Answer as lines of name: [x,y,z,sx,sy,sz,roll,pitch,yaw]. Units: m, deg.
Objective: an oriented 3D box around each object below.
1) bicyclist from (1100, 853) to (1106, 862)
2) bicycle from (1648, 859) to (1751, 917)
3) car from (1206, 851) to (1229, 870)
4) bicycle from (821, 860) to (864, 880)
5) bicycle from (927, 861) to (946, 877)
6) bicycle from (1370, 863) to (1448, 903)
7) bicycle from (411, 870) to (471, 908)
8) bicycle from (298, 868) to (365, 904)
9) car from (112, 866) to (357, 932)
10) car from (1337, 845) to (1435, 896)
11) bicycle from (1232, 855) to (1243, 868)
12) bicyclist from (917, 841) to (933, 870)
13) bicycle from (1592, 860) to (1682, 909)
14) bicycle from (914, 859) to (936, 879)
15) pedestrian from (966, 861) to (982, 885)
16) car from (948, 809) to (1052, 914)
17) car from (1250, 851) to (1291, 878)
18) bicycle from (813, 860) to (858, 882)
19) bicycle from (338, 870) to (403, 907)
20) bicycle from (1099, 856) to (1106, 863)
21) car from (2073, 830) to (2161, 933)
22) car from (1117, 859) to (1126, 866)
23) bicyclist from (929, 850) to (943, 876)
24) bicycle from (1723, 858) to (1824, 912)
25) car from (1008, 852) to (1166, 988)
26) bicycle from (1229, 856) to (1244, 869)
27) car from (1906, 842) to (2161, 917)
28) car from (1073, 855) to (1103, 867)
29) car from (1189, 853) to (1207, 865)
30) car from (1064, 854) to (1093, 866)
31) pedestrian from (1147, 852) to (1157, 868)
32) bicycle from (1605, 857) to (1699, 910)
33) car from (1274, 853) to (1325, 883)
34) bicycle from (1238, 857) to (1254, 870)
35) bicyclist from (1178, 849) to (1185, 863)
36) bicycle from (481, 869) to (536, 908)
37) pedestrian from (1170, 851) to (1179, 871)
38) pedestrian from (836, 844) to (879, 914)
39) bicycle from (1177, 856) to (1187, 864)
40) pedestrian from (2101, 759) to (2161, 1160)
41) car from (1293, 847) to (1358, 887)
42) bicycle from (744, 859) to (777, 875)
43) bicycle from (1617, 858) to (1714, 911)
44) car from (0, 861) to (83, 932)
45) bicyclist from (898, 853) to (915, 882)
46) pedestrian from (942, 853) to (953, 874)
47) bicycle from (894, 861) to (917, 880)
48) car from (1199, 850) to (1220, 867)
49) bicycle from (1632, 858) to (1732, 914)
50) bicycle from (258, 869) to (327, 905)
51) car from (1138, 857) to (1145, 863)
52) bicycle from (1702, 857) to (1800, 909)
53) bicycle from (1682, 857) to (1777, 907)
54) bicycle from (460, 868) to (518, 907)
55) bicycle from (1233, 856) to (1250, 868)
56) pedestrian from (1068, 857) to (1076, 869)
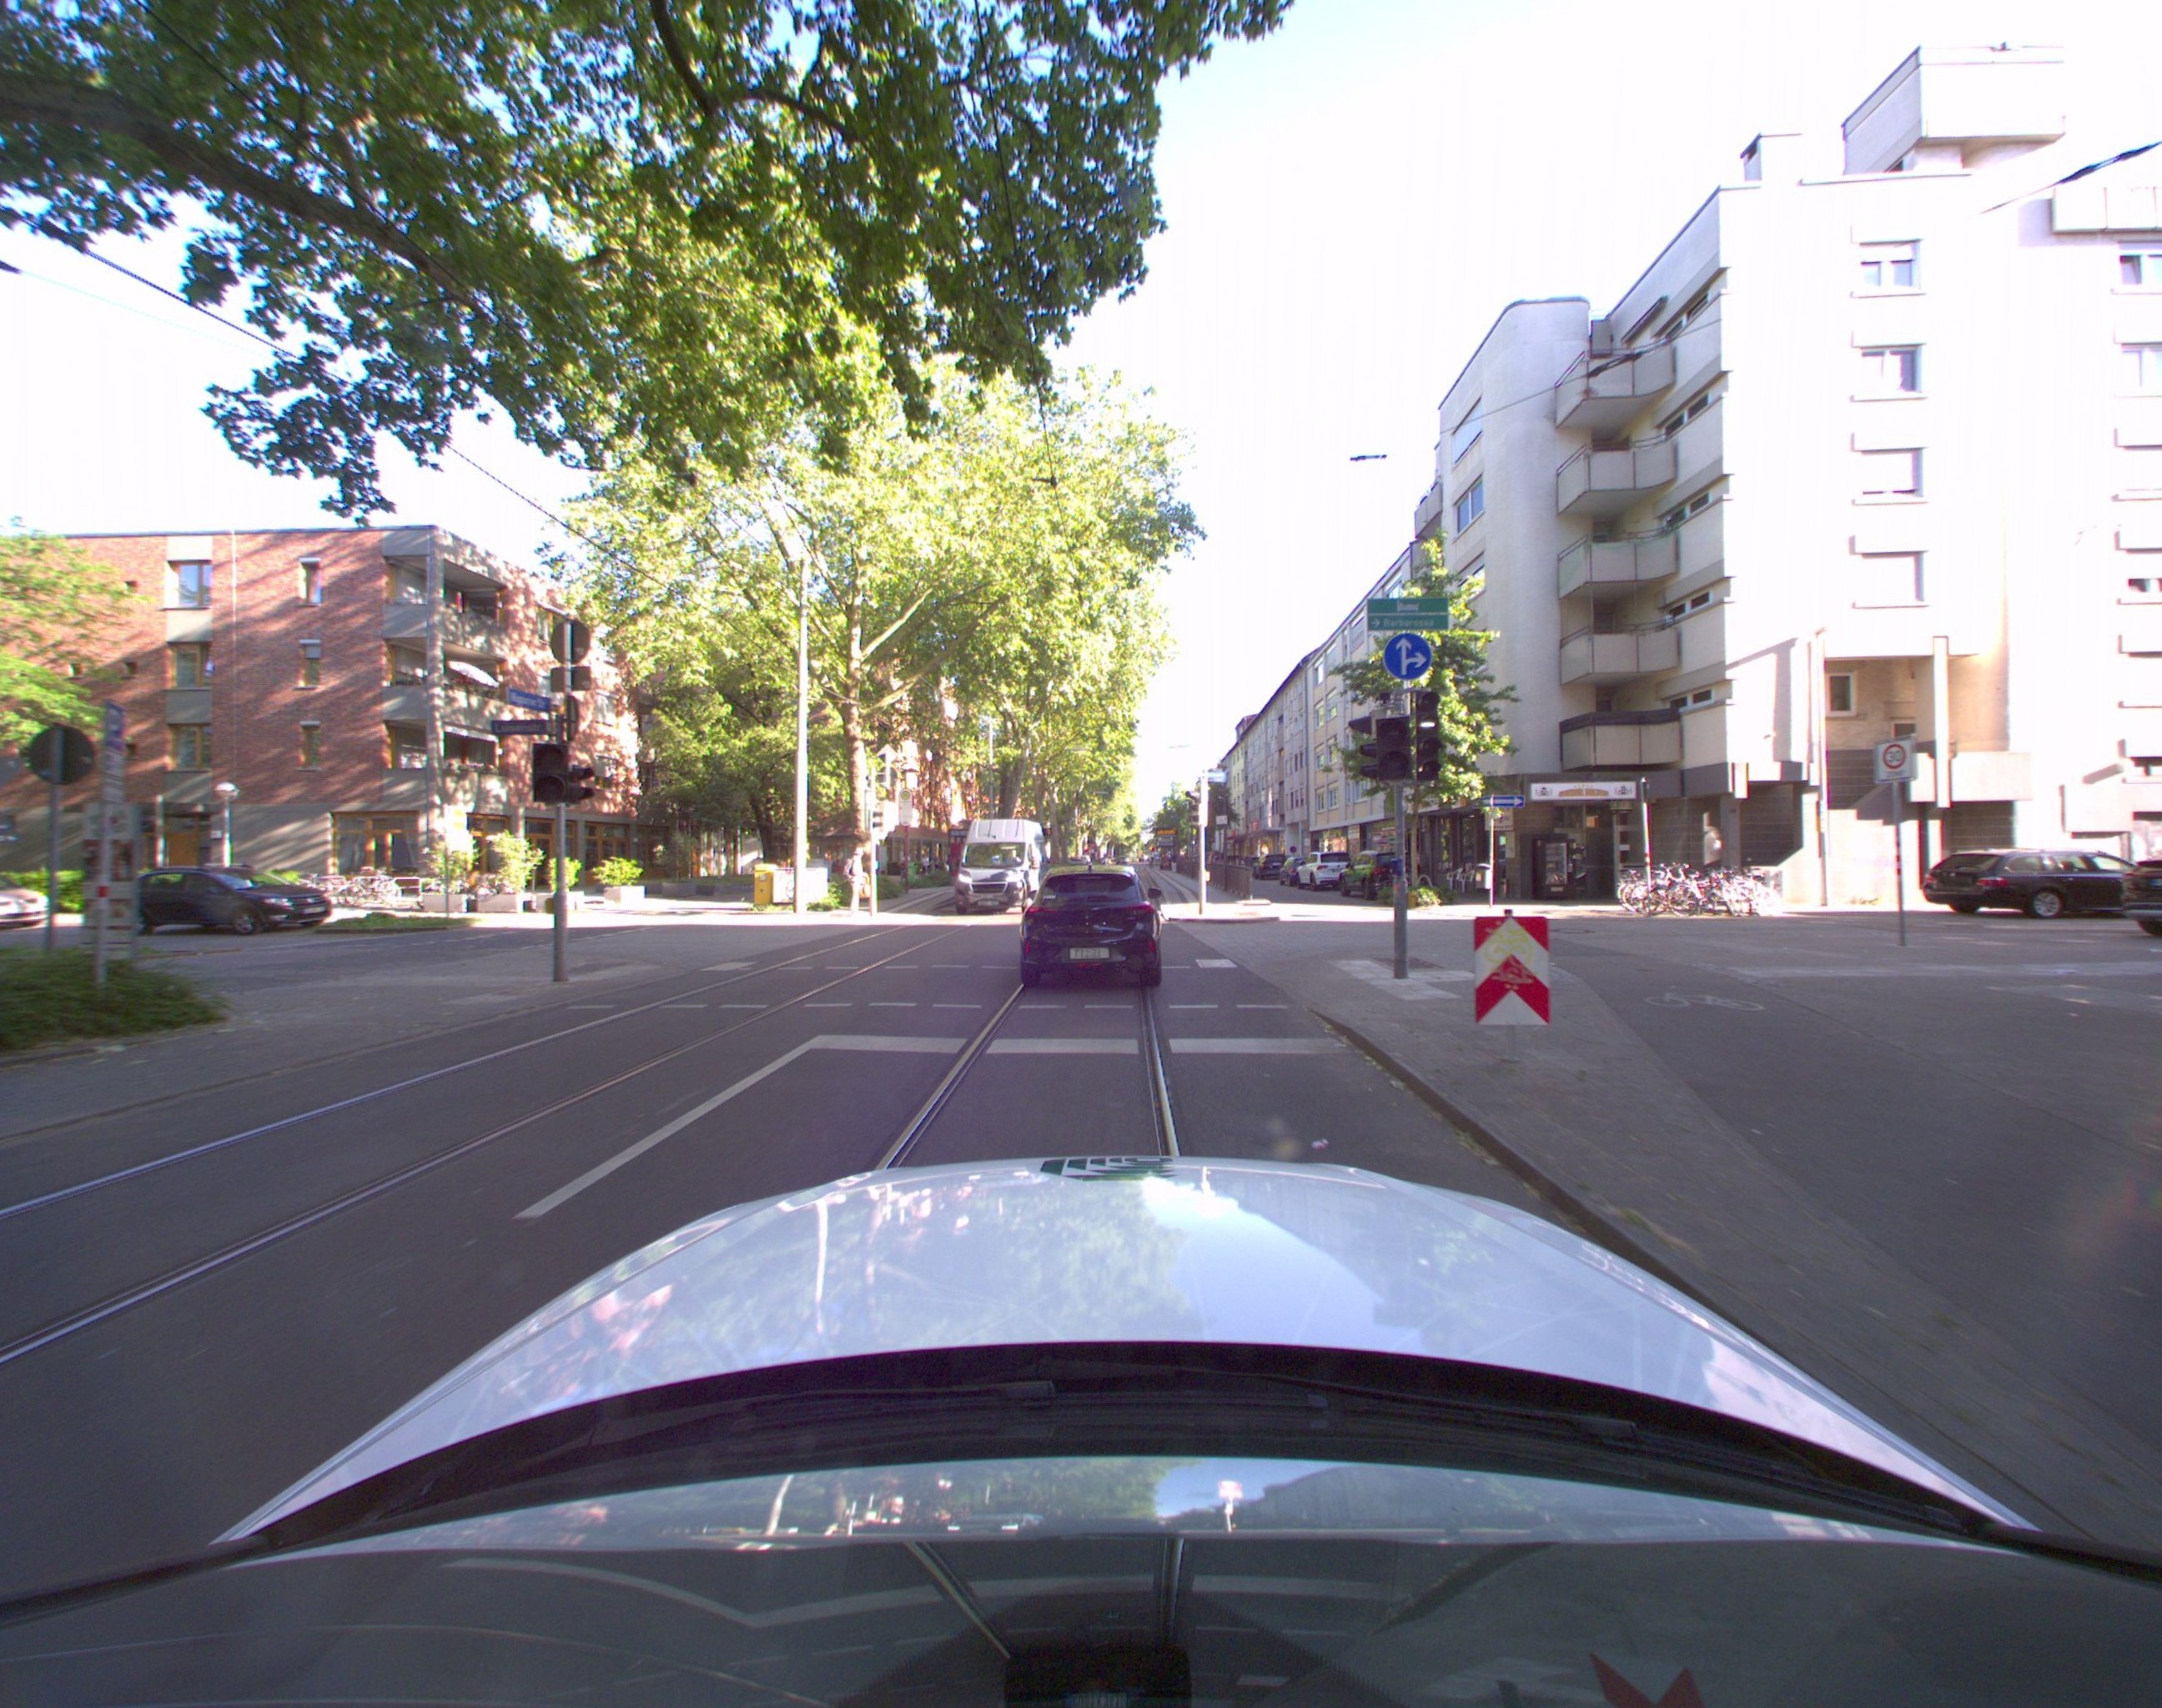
bicyclist: [4.132,0.607,151.358,0.936,1.703,1.155,0,-1,7]
bicycle: [13.695,0.743,18.045,1.908,1.207,0.511,-1,0,-1]
car: [14.345,0.725,85.672,1.985,1.952,4.003,0,-1,3]
bicycle: [-14.368,0.956,49.126,2.330,1.166,0.683,1,-1,4]
bicycle: [-9.910,1.011,55.860,0.779,1.111,2.596,0,-1,1]
bicycle: [10.013,0.880,24.923,2.112,1.187,0.683,0,-1,11]
bicycle: [-20.032,1.076,25.526,0.539,1.084,1.640,0,1,2]
bicycle: [-23.759,0.988,25.854,0.539,1.084,1.639,0,-1,2]
car: [-20.777,1.063,20.128,3.971,1.508,2.001,0,-1,2]
car: [10.432,0.558,28.233,1.985,1.615,4.449,0,-1,4]
bicycle: [14.860,0.716,77.425,0.410,1.136,2.198,0,-1,-7]
bicyclist: [-9.513,0.077,49.601,0.779,1.763,0.951,0,-1,1]
bicycle: [13.788,0.748,20.218,1.908,1.208,0.511,0,-1,-1]
bicycle: [-9.511,0.881,49.650,0.779,1.191,2.596,0,-1,1]
pedestrian: [-5.341,0.969,40.692,0.703,1.168,0.659,-2,-1,0]
car: [-2.276,0.239,24.810,2.104,2.738,6.120,-1,-1,4]
car: [11.913,0.686,51.412,1.849,1.615,4.402,0,-1,4]
bicycle: [-14.518,0.986,48.233,2.447,1.219,0.683,2,-1,4]
bicycle: [-22.341,1.059,25.634,0.539,1.084,1.640,0,0,2]
bicycle: [4.020,1.041,150.449,0.950,1.240,2.983,0,-1,7]
car: [18.811,0.438,12.784,4.238,1.592,1.965,0,-2,-3]
car: [8.195,1.739,164.901,1.738,1.544,4.002,0,-1,2]
bicyclist: [-9.910,0.640,55.700,0.771,1.750,0.998,0,-1,1]
bicycle: [15.826,0.699,18.633,1.908,1.207,0.511,0,1,-1]
car: [0.129,0.765,11.010,1.753,1.508,3.684,-1,-1,2]
bicycle: [13.933,0.788,73.199,0.602,1.136,2.428,0,-1,-7]
car: [21.430,0.526,17.890,4.564,1.477,1.873,-1,2,4]
car: [1.020,1.022,115.966,4.105,1.701,1.881,0,-1,-4]
car: [14.968,0.657,104.652,1.985,1.486,4.004,0,-1,4]
car: [-0.414,0.925,127.868,4.375,1.851,1.997,0,-1,-4]
pedestrian: [7.354,0.628,84.595,0.742,1.709,0.768,0,-1,38]
bicycle: [13.782,0.705,19.667,1.908,1.207,0.511,-1,0,-1]
car: [10.937,0.678,41.030,1.736,1.440,4.251,0,-1,4]
bicycle: [14.277,0.827,70.691,0.621,1.136,2.433,0,-1,-7]
bicyclist: [13.378,0.251,108.360,0.859,1.759,1.052,0,-1,-3]
bicycle: [-17.734,1.054,25.262,0.539,1.084,1.538,0,2,2]
pedestrian: [7.512,0.523,65.571,0.628,1.576,0.871,2,0,4]
pedestrian: [-6.060,0.658,22.131,0.921,1.835,0.920,0,2,0]
bicycle: [13.382,0.796,108.073,0.859,1.136,2.394,0,-1,-2]
pedestrian: [5.240,0.462,3.328,0.876,1.758,1.044,0,-1,-11]
car: [10.538,0.549,35.459,1.791,1.606,4.419,0,-1,4]
bicycle: [-21.458,0.866,54.539,1.942,1.073,0.762,0,-1,-13]
bicycle: [13.701,0.705,19.114,1.908,1.207,0.511,-1,0,-1]
car: [-28.397,1.058,20.561,3.971,1.661,1.962,0,2,2]
bicyclist: [-10.695,0.807,49.820,0.771,1.750,0.998,0,-1,1]
pedestrian: [-10.711,0.731,65.419,0.732,1.672,0.861,0,-1,4]
bicycle: [-10.712,1.000,49.807,0.779,1.111,2.596,0,-1,1]
car: [14.512,0.538,92.222,1.985,1.797,4.003,0,-1,3]
bicycle: [13.689,0.729,18.579,1.908,1.207,0.511,-1,0,-1]
bicycle: [-25.091,1.036,25.950,0.539,1.084,1.639,0,-1,2]
car: [17.706,1.734,238.163,1.738,1.544,4.002,0,-1,2]
bicycle: [15.826,0.682,19.246,1.908,1.208,0.511,0,-1,-1]
bicycle: [15.835,0.687,19.910,1.908,1.208,0.511,0,-2,-1]
bicycle: [-18.358,1.029,25.288,0.539,1.084,1.640,0,2,2]
bicycle: [14.690,0.723,74.621,0.610,1.136,2.914,0,-1,-7]
pedestrian: [-1.300,1.272,118.785,1.160,1.749,0.957,0,-1,-2]
